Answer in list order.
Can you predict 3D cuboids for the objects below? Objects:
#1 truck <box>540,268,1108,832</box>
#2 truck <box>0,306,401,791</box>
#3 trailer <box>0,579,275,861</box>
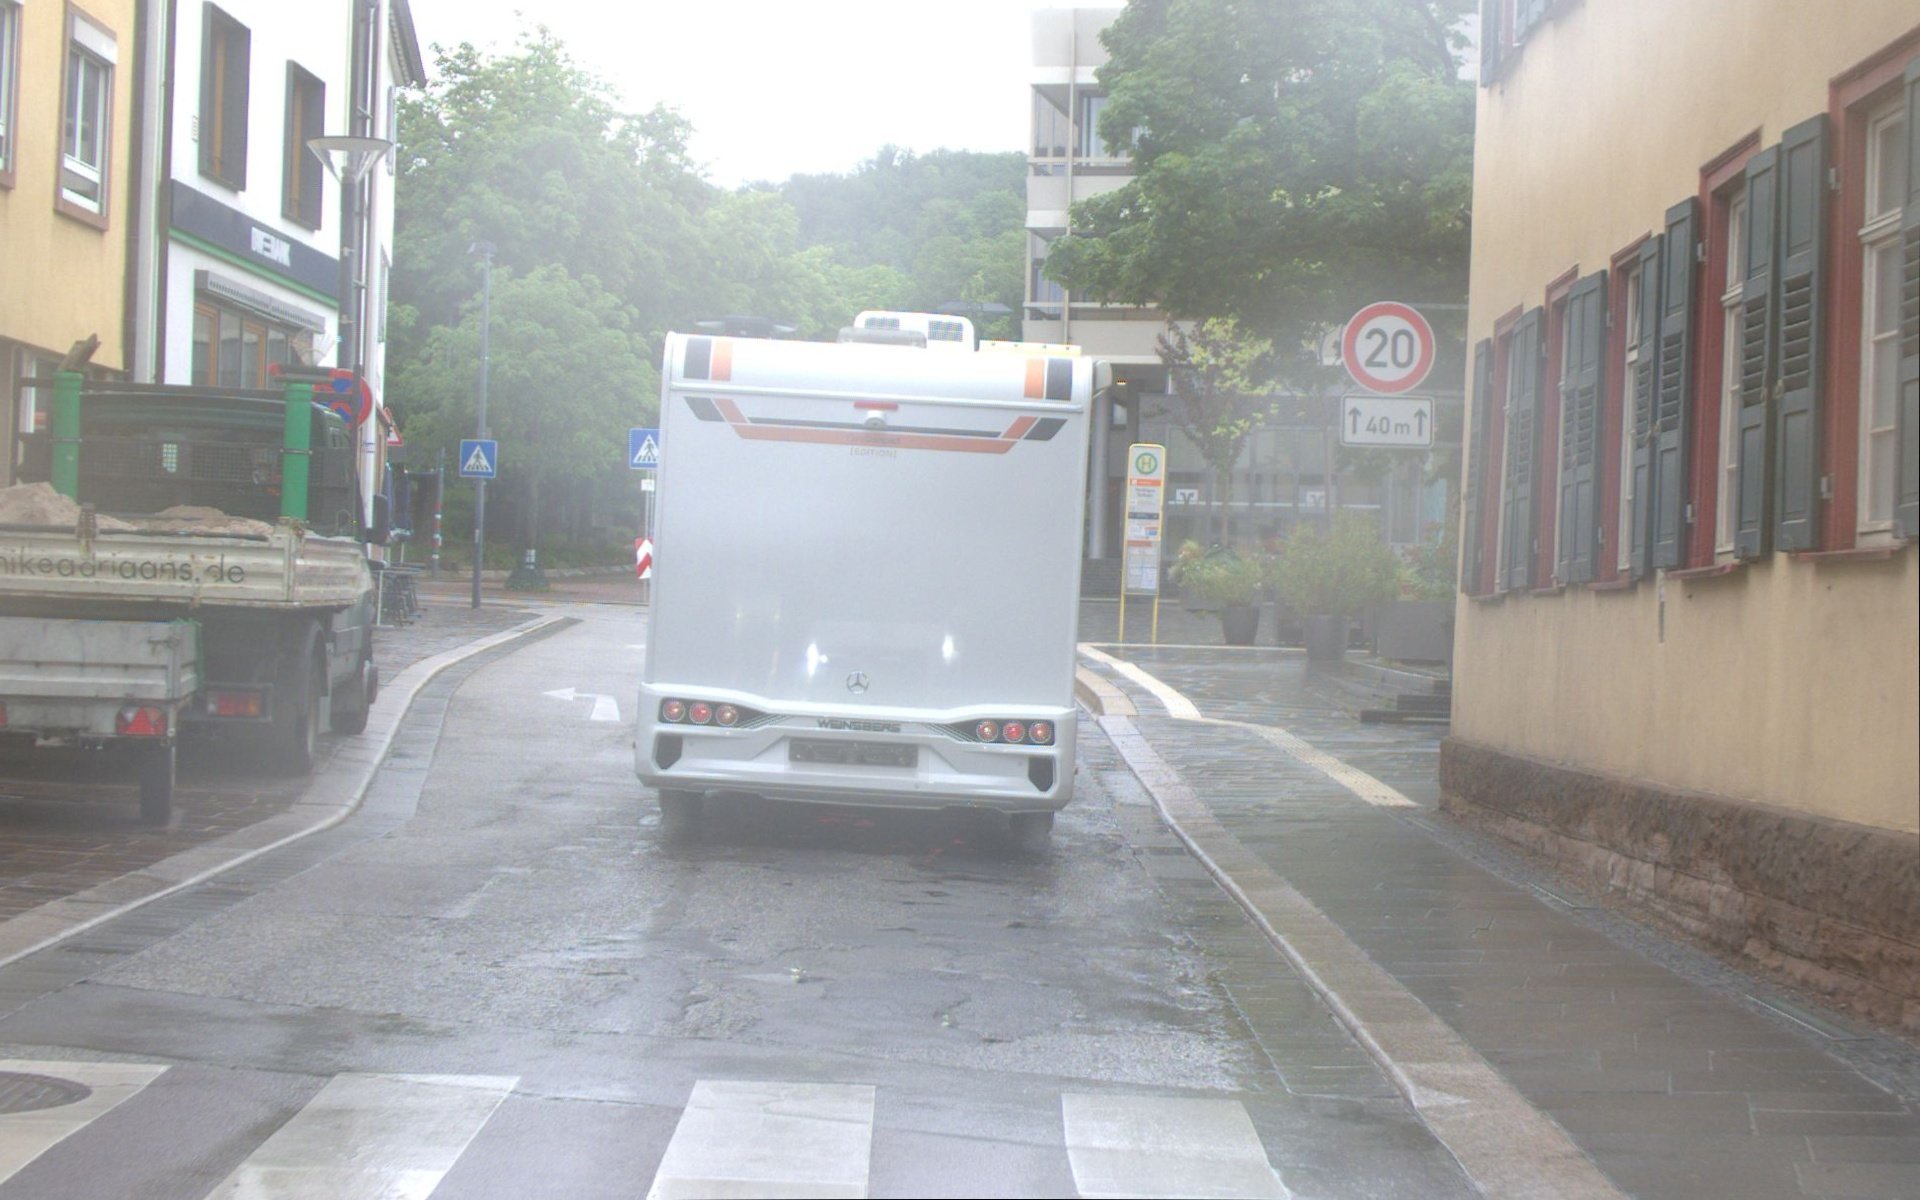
[{"bbox_3d":[-0.710,-0.259,20.184,2.805,2.787,6.107,0,0,-1],"label":"truck"},{"bbox_3d":[-5.018,-0.442,21.852,2.399,2.585,6.485,2,3,-5],"label":"truck"},{"bbox_3d":[-4.514,0.535,17.150,1.852,1.121,3.020,2,3,-6],"label":"trailer"}]
